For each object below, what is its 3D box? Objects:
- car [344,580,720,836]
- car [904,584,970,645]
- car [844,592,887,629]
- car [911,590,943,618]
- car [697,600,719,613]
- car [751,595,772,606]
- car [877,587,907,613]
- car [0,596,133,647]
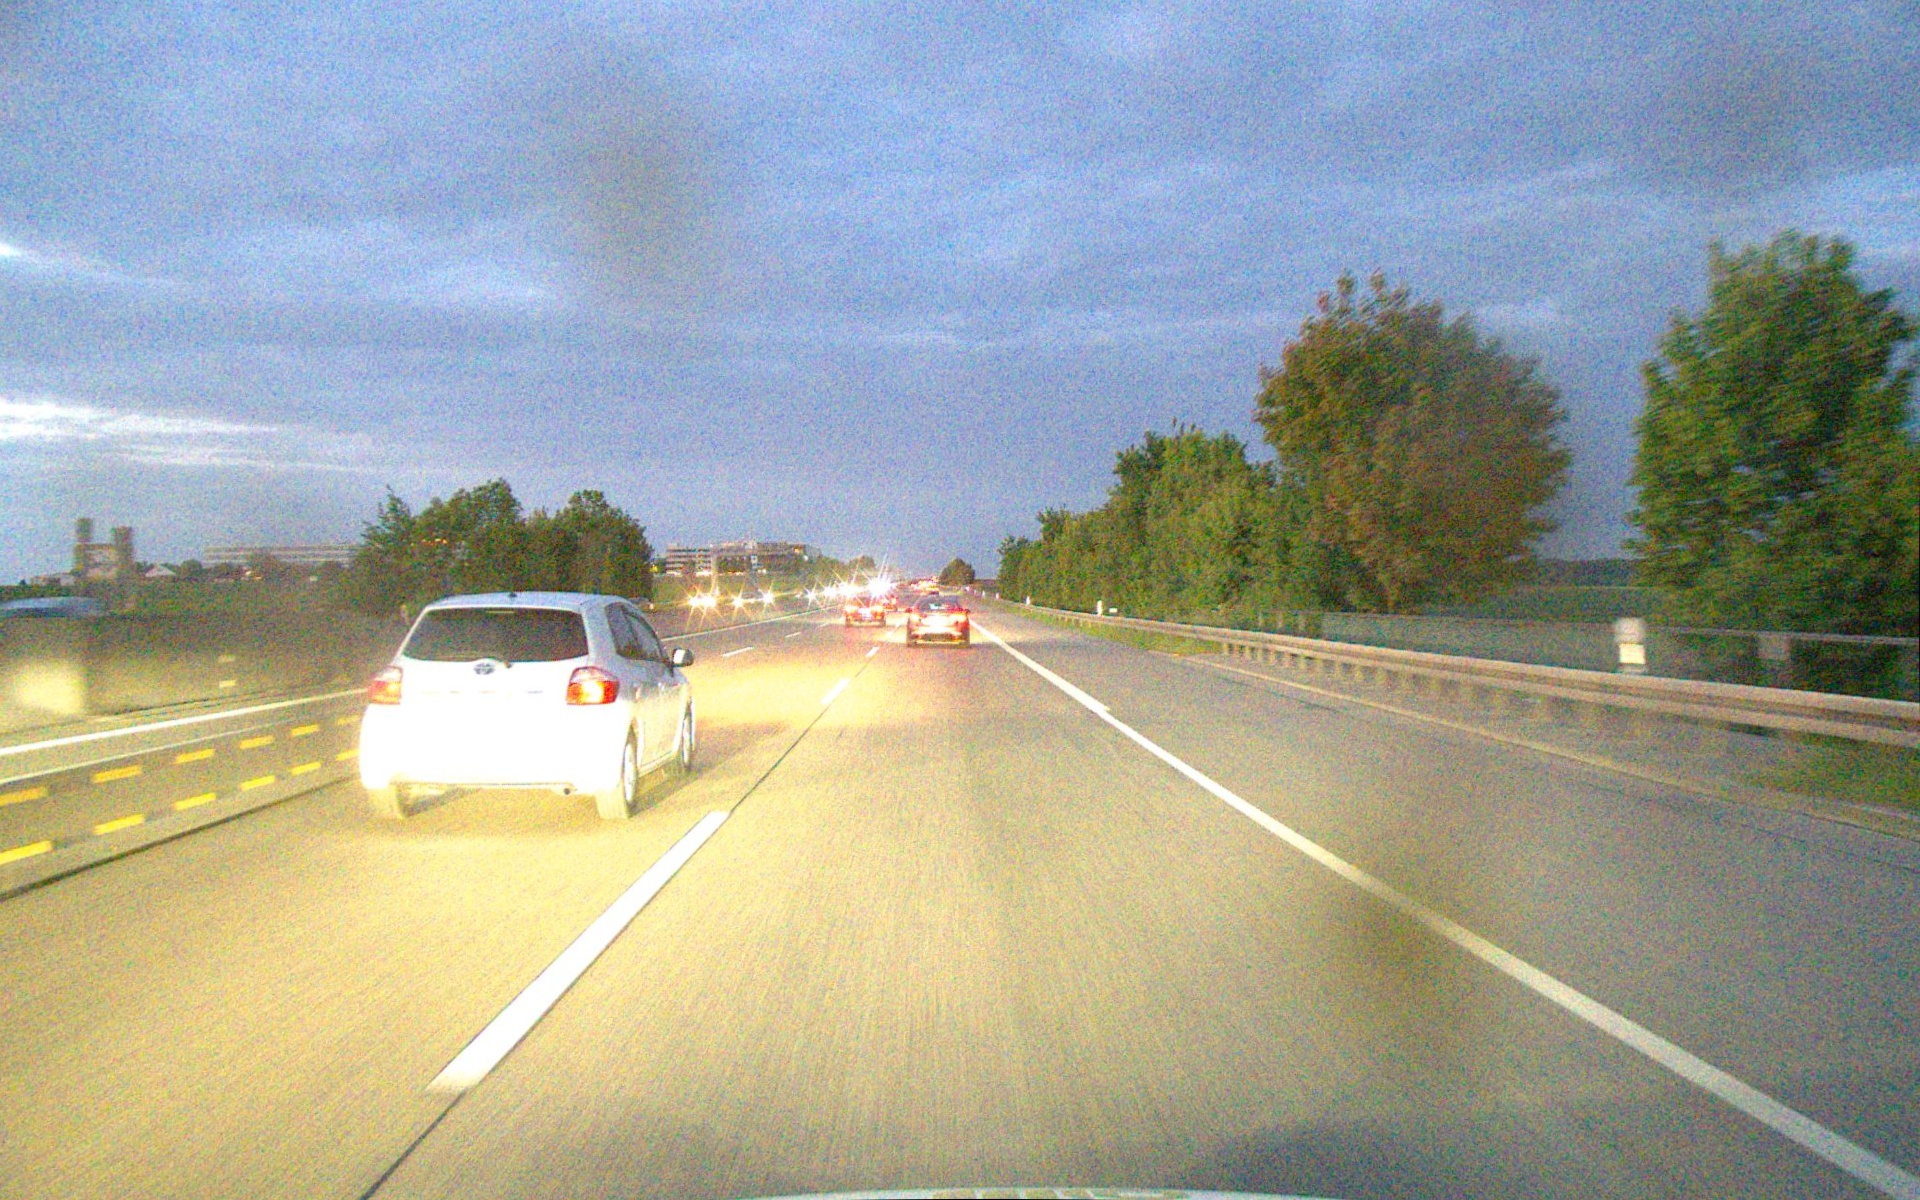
[{"bbox_3d":[-2.963,0.678,12.433,1.709,1.551,4.413,1,0,-1],"label":"car"},{"bbox_3d":[-0.691,0.413,48.647,1.842,1.672,3.999,1,0,-2],"label":"car"},{"bbox_3d":[-4.262,0.477,75.065,1.842,1.579,3.998,1,0,-2],"label":"car"},{"bbox_3d":[-1.991,0.254,99.212,1.842,1.579,3.998,1,0,-2],"label":"car"},{"bbox_3d":[-24.773,0.625,162.598,1.683,1.199,3.999,1,0,-1],"label":"car"},{"bbox_3d":[-21.929,0.060,182.398,1.892,1.199,3.999,1,0,-1],"label":"car"},{"bbox_3d":[-5.177,-0.023,125.839,2.154,1.912,3.999,1,0,-2],"label":"car"},{"bbox_3d":[-22.521,0.529,41.730,1.505,1.211,3.608,1,0,-1],"label":"car"}]
